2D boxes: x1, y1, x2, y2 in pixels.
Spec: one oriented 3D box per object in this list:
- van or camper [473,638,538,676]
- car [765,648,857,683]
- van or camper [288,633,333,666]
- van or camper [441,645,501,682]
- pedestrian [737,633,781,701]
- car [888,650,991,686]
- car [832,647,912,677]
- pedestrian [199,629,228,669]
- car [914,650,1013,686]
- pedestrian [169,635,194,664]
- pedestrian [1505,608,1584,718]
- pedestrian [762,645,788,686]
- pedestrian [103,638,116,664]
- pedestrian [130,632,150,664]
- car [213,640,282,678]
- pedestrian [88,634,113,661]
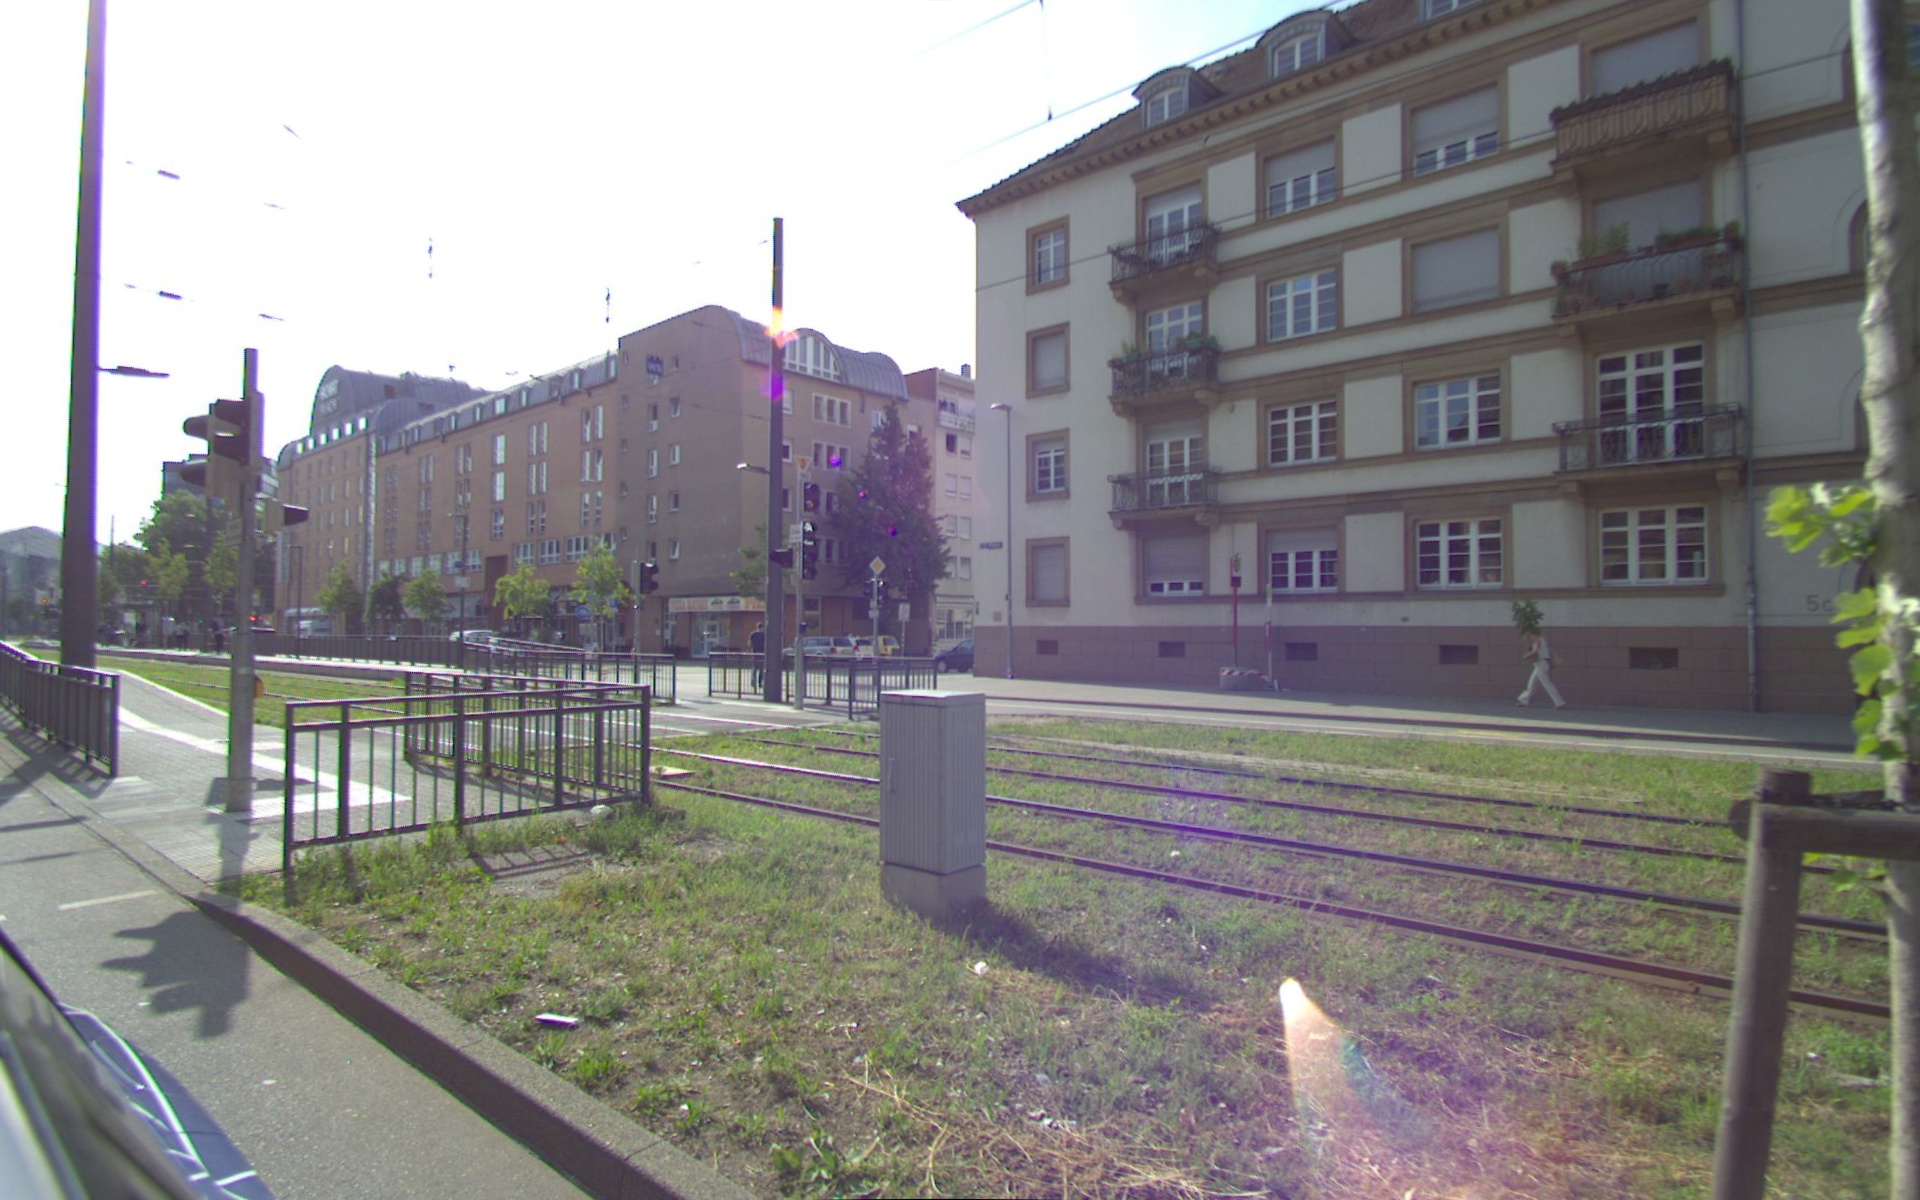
[{"bbox_3d":[-24.710,3.037,54.969,1.907,1.983,4.003,2,-3,-44],"label":"van or camper"},{"bbox_3d":[-7.252,3.137,49.006,4.548,1.612,1.747,-2,-3,37],"label":"car"},{"bbox_3d":[-58.668,4.441,91.366,5.351,2.823,1.972,-2,-3,42],"label":"van or camper"},{"bbox_3d":[-28.549,3.669,59.055,1.970,2.029,4.003,2,-4,-44],"label":"van or camper"},{"bbox_3d":[-5.695,1.883,28.773,0.856,1.882,1.066,0,-2,14],"label":"pedestrian"},{"bbox_3d":[-0.841,2.688,40.601,3.991,1.364,1.566,-2,-3,35],"label":"car"},{"bbox_3d":[-4.667,3.267,53.664,3.995,1.519,1.974,-2,-3,39],"label":"car"},{"bbox_3d":[-35.132,2.305,47.648,0.729,1.886,0.941,0,-2,-11],"label":"pedestrian"},{"bbox_3d":[0.119,2.810,42.458,3.992,1.416,1.658,-2,-3,36],"label":"car"},{"bbox_3d":[-42.378,2.687,55.077,0.803,1.542,0.676,0,-2,10],"label":"pedestrian"},{"bbox_3d":[11.521,1.217,19.952,1.156,2.084,0.833,-2,-2,42],"label":"pedestrian"},{"bbox_3d":[-7.292,2.557,39.914,0.807,1.595,0.671,-2,-3,38],"label":"pedestrian"},{"bbox_3d":[-60.183,3.586,71.612,0.698,1.774,0.644,-1,0,42],"label":"pedestrian"},{"bbox_3d":[-48.853,2.849,60.313,0.555,1.901,0.796,-2,-3,42],"label":"pedestrian"},{"bbox_3d":[-40.141,3.286,56.971,4.928,2.029,1.973,-2,-3,40],"label":"car"},{"bbox_3d":[-56.827,3.139,66.909,0.824,1.760,0.784,1,-4,5],"label":"pedestrian"}]
